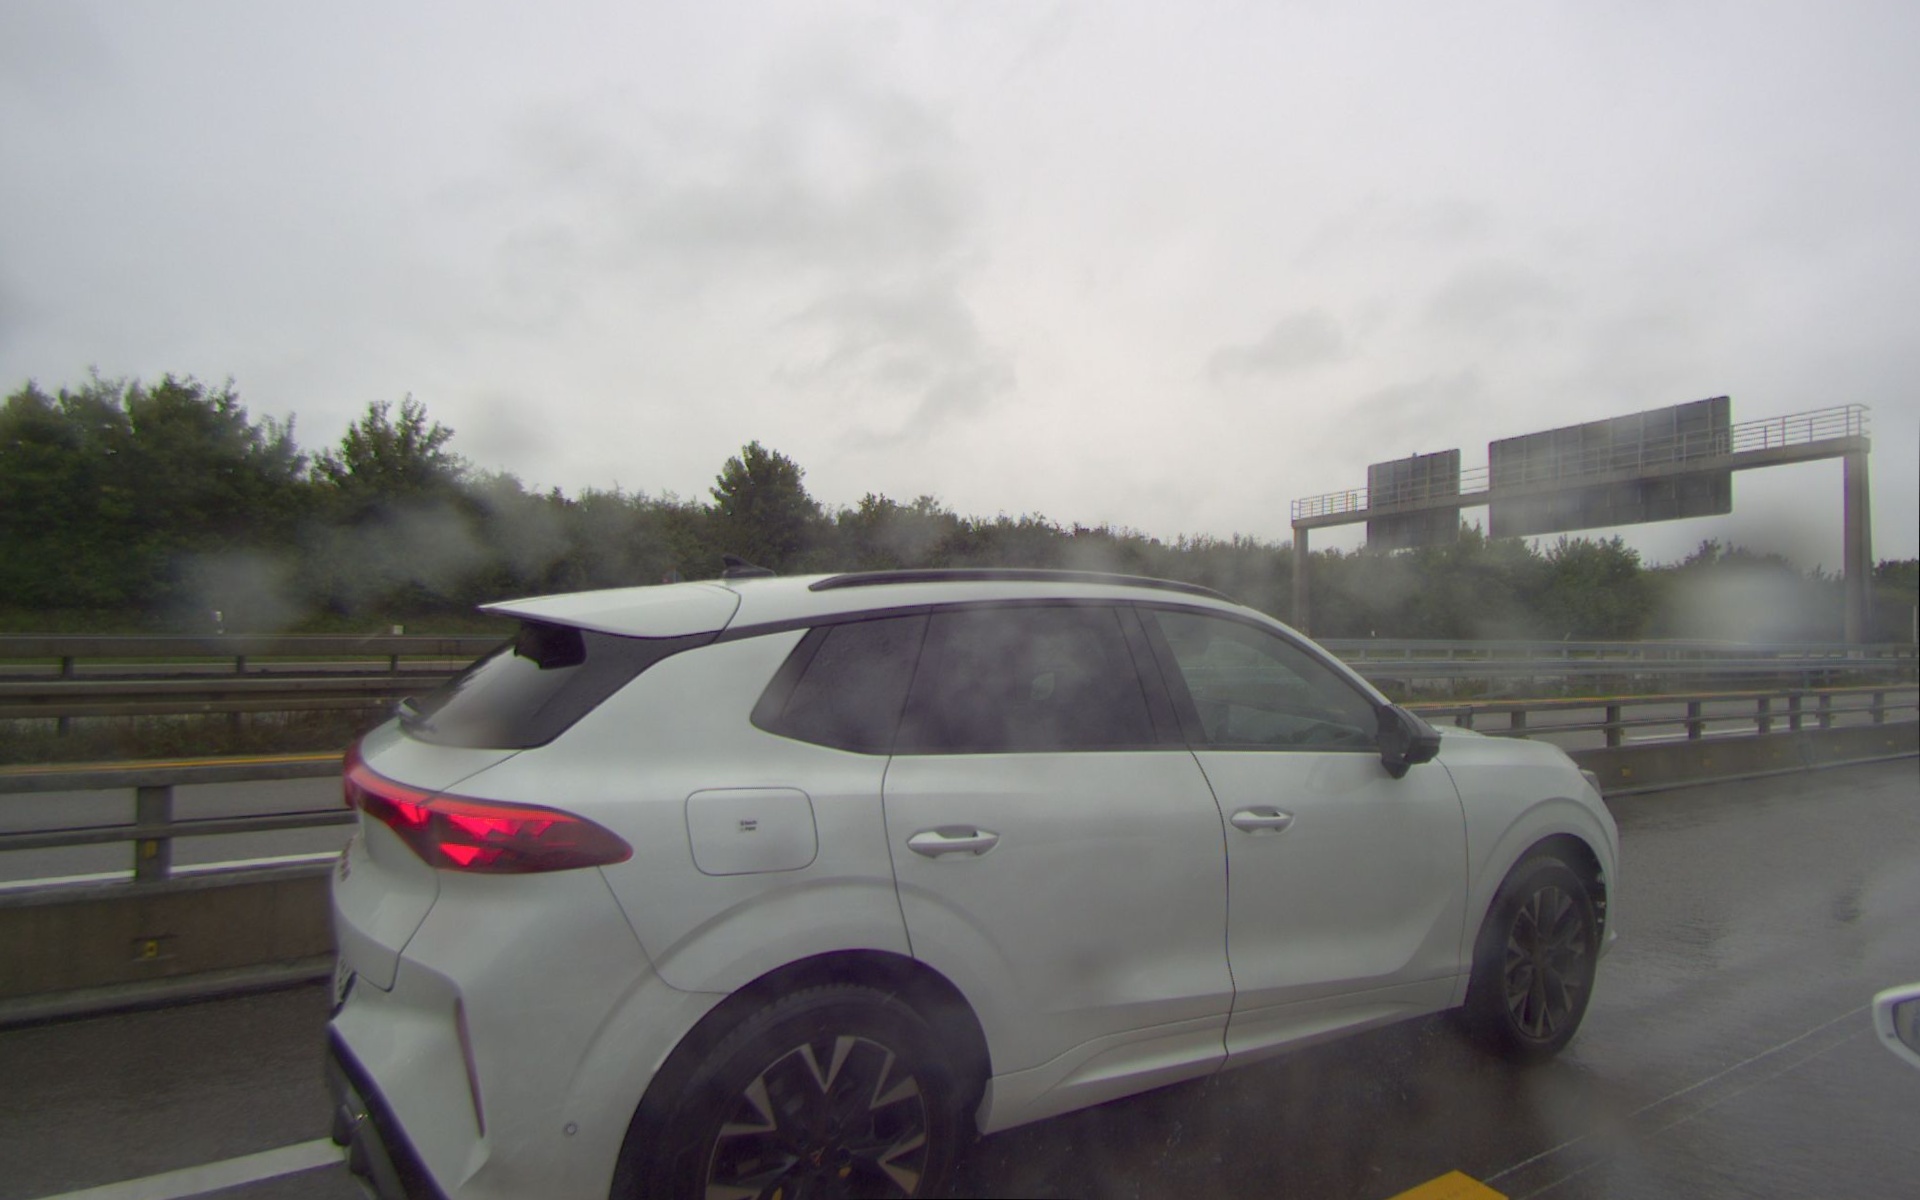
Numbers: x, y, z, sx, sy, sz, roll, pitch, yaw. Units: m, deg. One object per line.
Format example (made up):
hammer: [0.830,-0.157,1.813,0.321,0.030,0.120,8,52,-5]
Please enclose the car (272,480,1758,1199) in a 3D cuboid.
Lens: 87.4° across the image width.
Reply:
car: [0.543,0.701,3.560,4.740,1.639,1.984,2,0,-30]
